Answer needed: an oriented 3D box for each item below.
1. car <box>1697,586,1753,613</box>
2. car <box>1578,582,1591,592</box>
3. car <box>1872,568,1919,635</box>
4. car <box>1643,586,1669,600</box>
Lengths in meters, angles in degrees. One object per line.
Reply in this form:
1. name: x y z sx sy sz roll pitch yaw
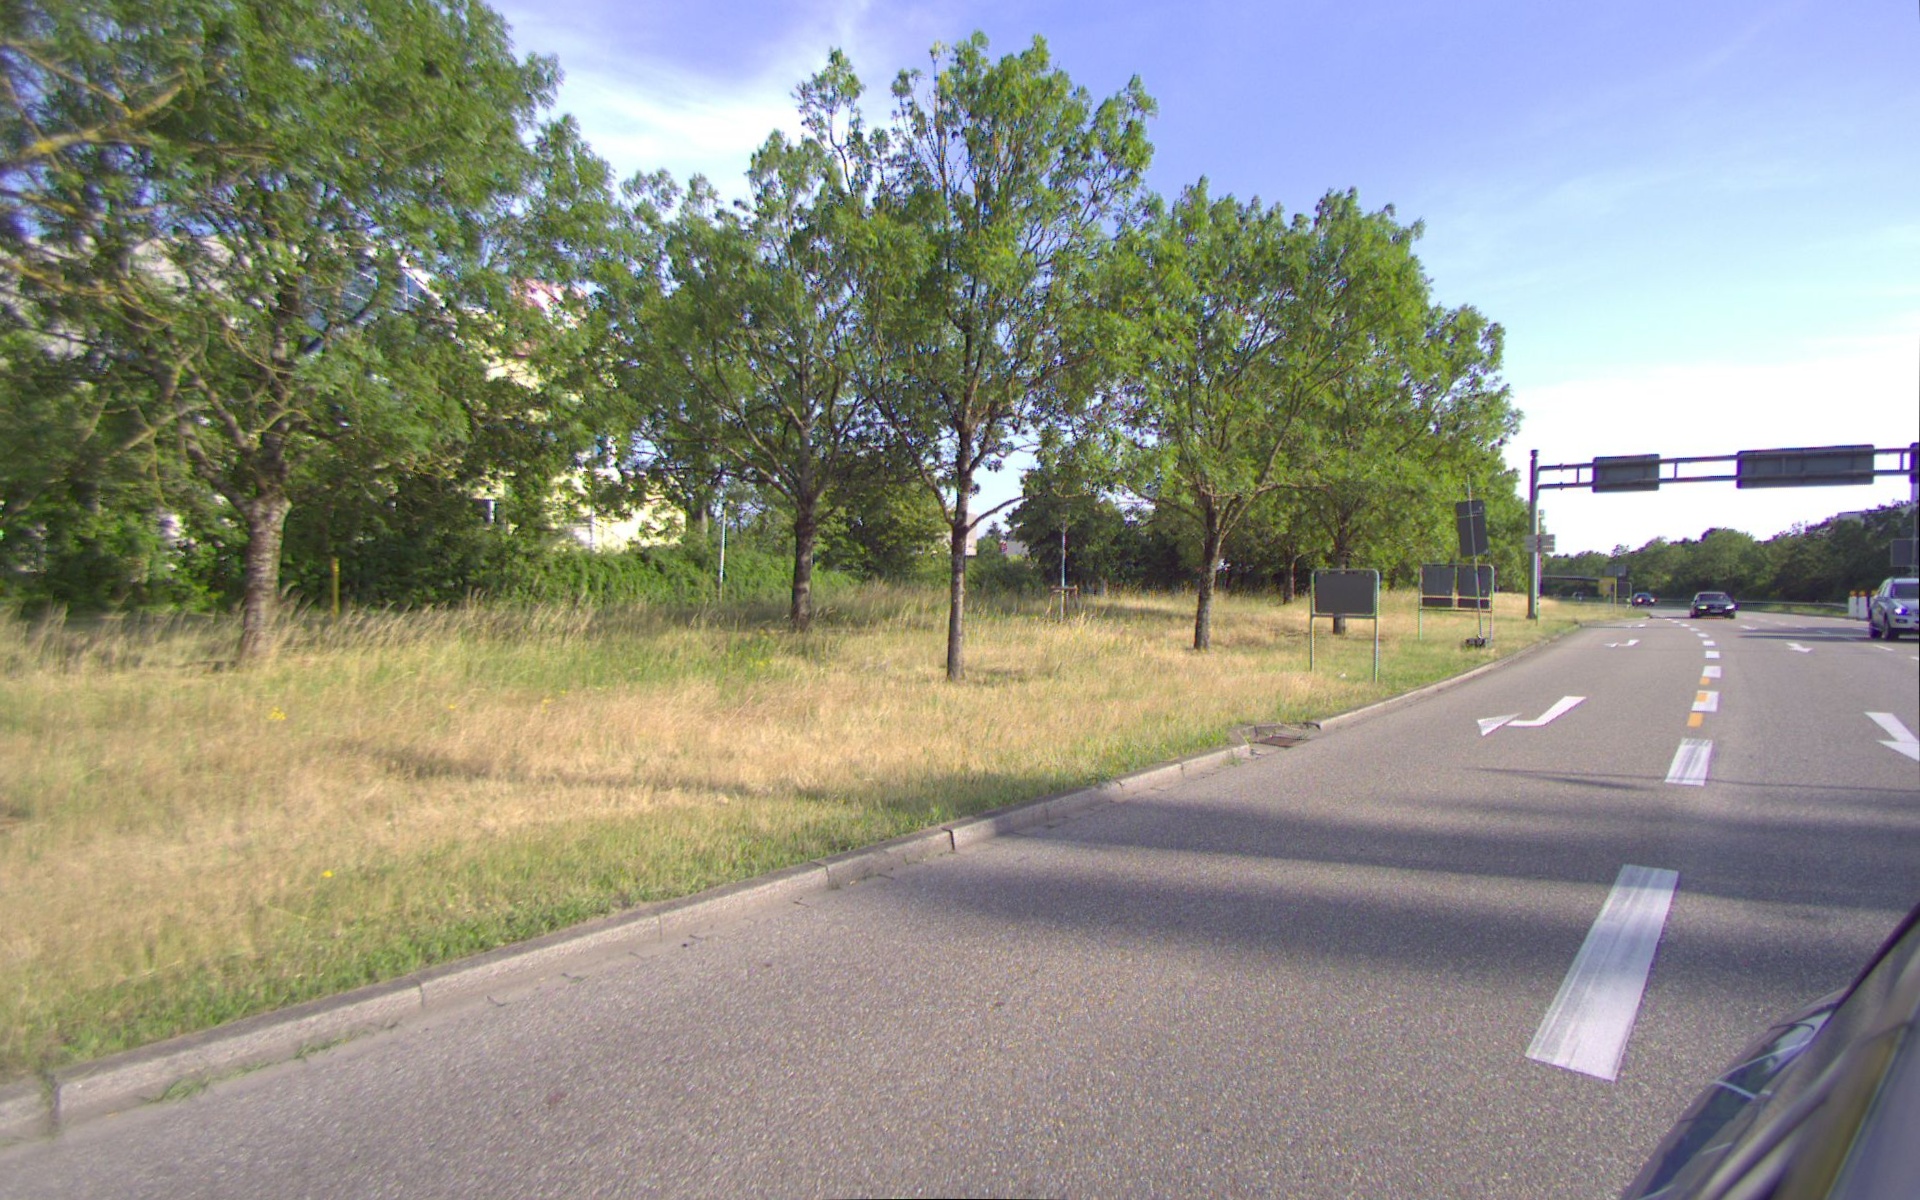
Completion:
1. car: 40.981 -0.042 54.267 1.887 1.403 4.308 -1 0 31
2. car: 123.666 -2.610 200.409 1.772 1.829 4.088 1 1 25
3. car: 28.005 0.007 29.237 1.890 1.847 4.301 -1 0 35
4. car: 78.933 -0.768 114.784 1.878 1.474 3.873 1 2 27
